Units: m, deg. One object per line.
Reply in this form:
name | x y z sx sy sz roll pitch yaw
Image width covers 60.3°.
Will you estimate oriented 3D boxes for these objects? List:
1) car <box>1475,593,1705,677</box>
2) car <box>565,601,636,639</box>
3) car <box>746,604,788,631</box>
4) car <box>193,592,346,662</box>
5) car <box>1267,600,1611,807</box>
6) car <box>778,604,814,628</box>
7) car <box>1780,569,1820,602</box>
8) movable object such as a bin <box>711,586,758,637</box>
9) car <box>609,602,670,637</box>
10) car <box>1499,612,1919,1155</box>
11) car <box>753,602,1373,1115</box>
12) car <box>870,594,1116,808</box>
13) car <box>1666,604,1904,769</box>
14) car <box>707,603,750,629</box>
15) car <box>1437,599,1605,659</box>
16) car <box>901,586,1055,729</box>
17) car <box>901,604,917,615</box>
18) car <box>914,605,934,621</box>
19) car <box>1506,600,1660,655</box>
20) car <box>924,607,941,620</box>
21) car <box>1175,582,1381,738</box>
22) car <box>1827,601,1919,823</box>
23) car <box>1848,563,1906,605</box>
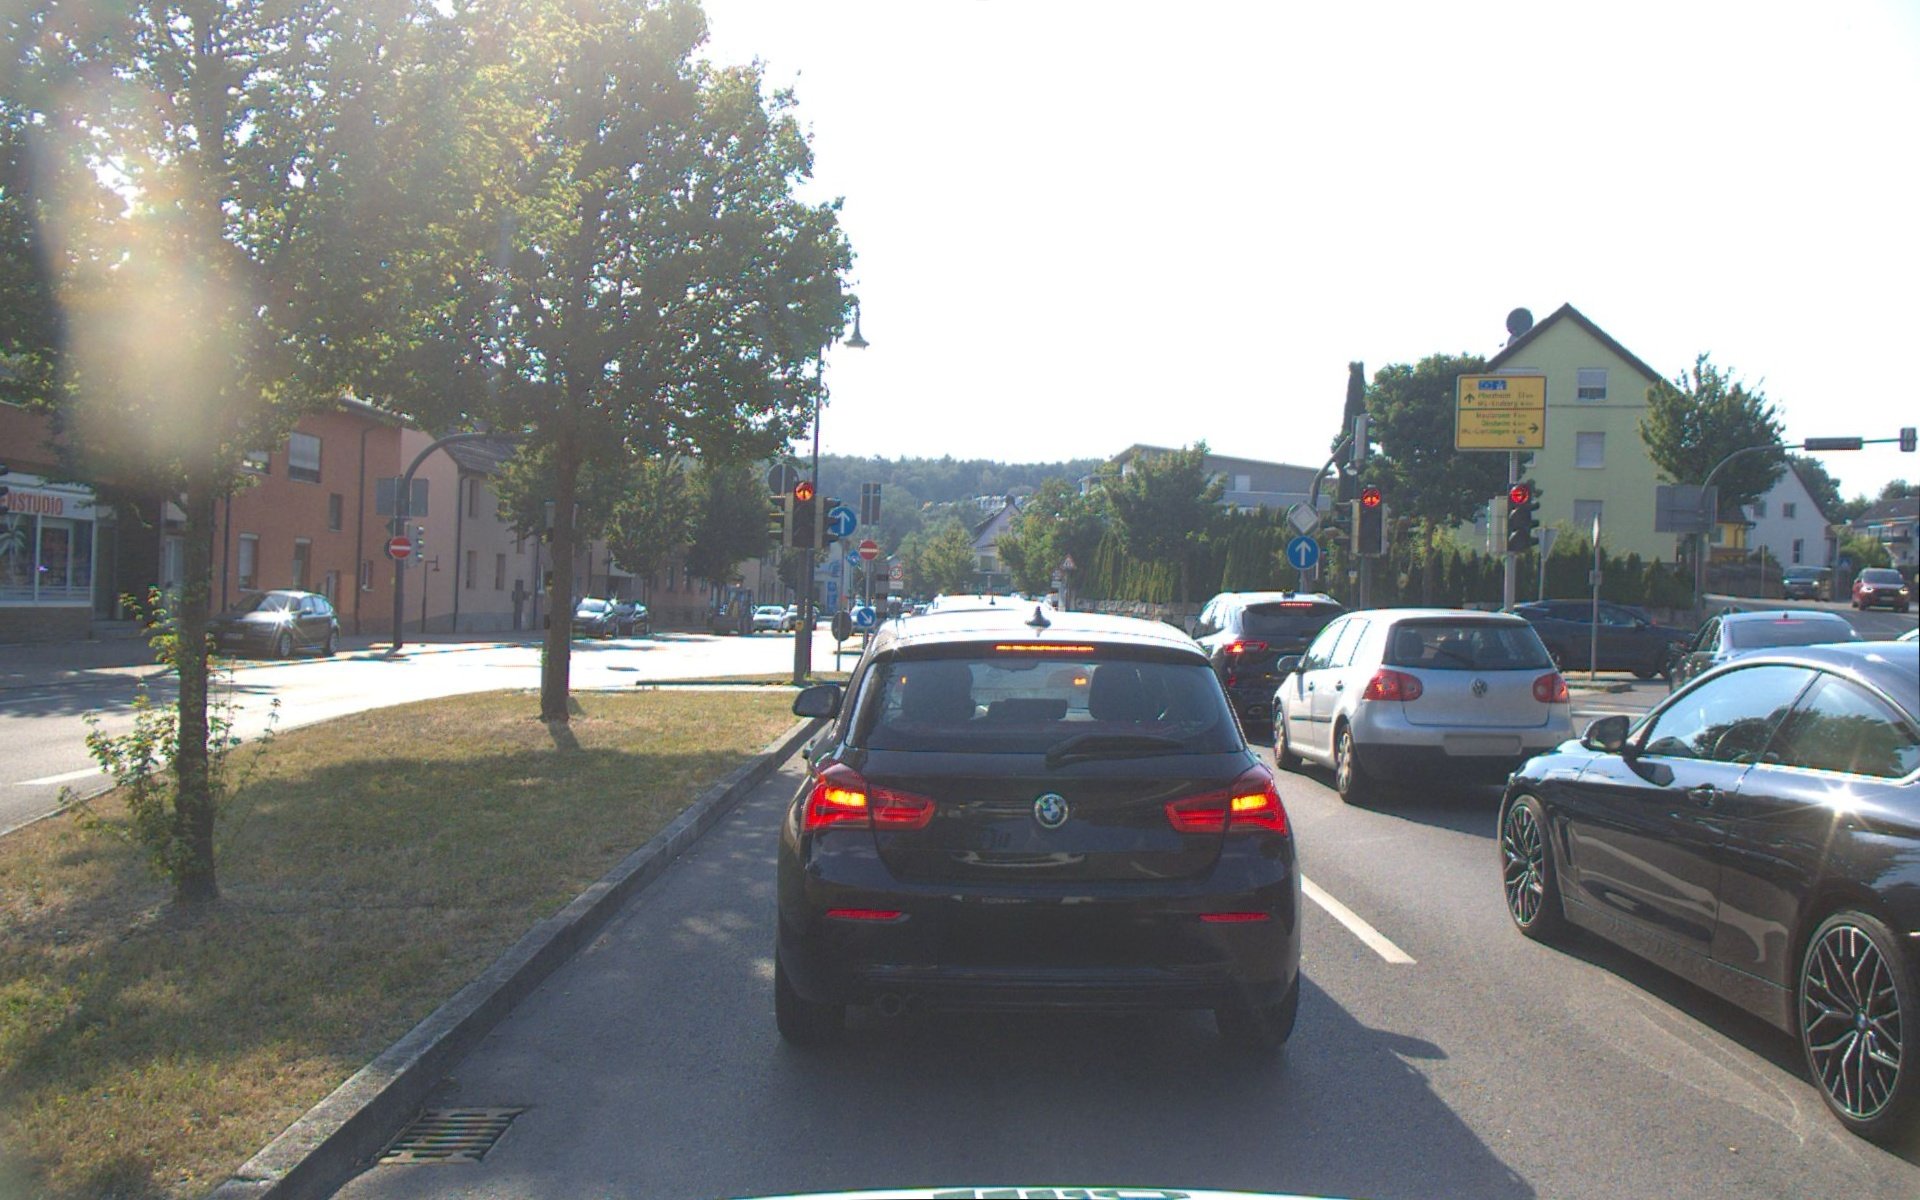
car | 13.150 0.720 34.726 4.113 1.709 1.972 0 0 3
car | -14.504 0.800 66.911 1.701 1.323 4.001 5 0 3
car | -10.935 0.981 94.103 1.701 1.323 3.800 5 0 2
car | -15.478 0.569 37.297 1.702 1.323 3.999 5 0 -1
car | 3.787 0.741 13.779 1.725 1.451 3.902 -1 0 0
car | -10.637 1.025 107.639 1.701 1.323 3.800 5 0 2
car | 46.946 -0.782 92.421 1.807 1.770 4.776 1 0 29
movable object such as a bin | -11.285 0.573 82.903 1.701 2.485 4.449 0 0 0
car | -14.117 0.832 73.062 1.701 1.323 4.001 5 0 2
car | 3.465 0.786 5.823 1.725 1.422 4.280 -1 0 0
car | 0.290 0.735 6.843 1.751 1.422 4.280 -1 0 0
car | 0.231 0.715 13.988 1.751 1.520 4.280 -1 0 0
car | 9.040 0.854 18.464 1.621 1.569 4.401 -1 0 17
car | -13.546 0.943 96.936 1.701 1.323 3.800 5 0 2
car | 15.163 0.765 44.839 3.907 1.515 1.847 1 0 -3
car | 0.202 0.647 21.028 1.751 1.622 4.280 -1 0 0
car | -6.876 1.230 223.385 1.701 1.323 3.800 5 0 2
car | -3.575 1.285 163.965 1.701 1.323 3.800 5 0 2
car | 18.459 0.797 49.108 3.903 1.515 1.849 1 0 4
car | -3.110 1.486 187.529 1.701 1.323 3.800 5 0 2
car | 3.740 0.649 20.062 1.725 1.685 3.902 -1 0 0
car | 7.616 0.800 11.632 1.583 1.569 3.320 -1 0 6
car | 38.377 -0.633 69.261 1.806 1.670 4.427 1 0 25
